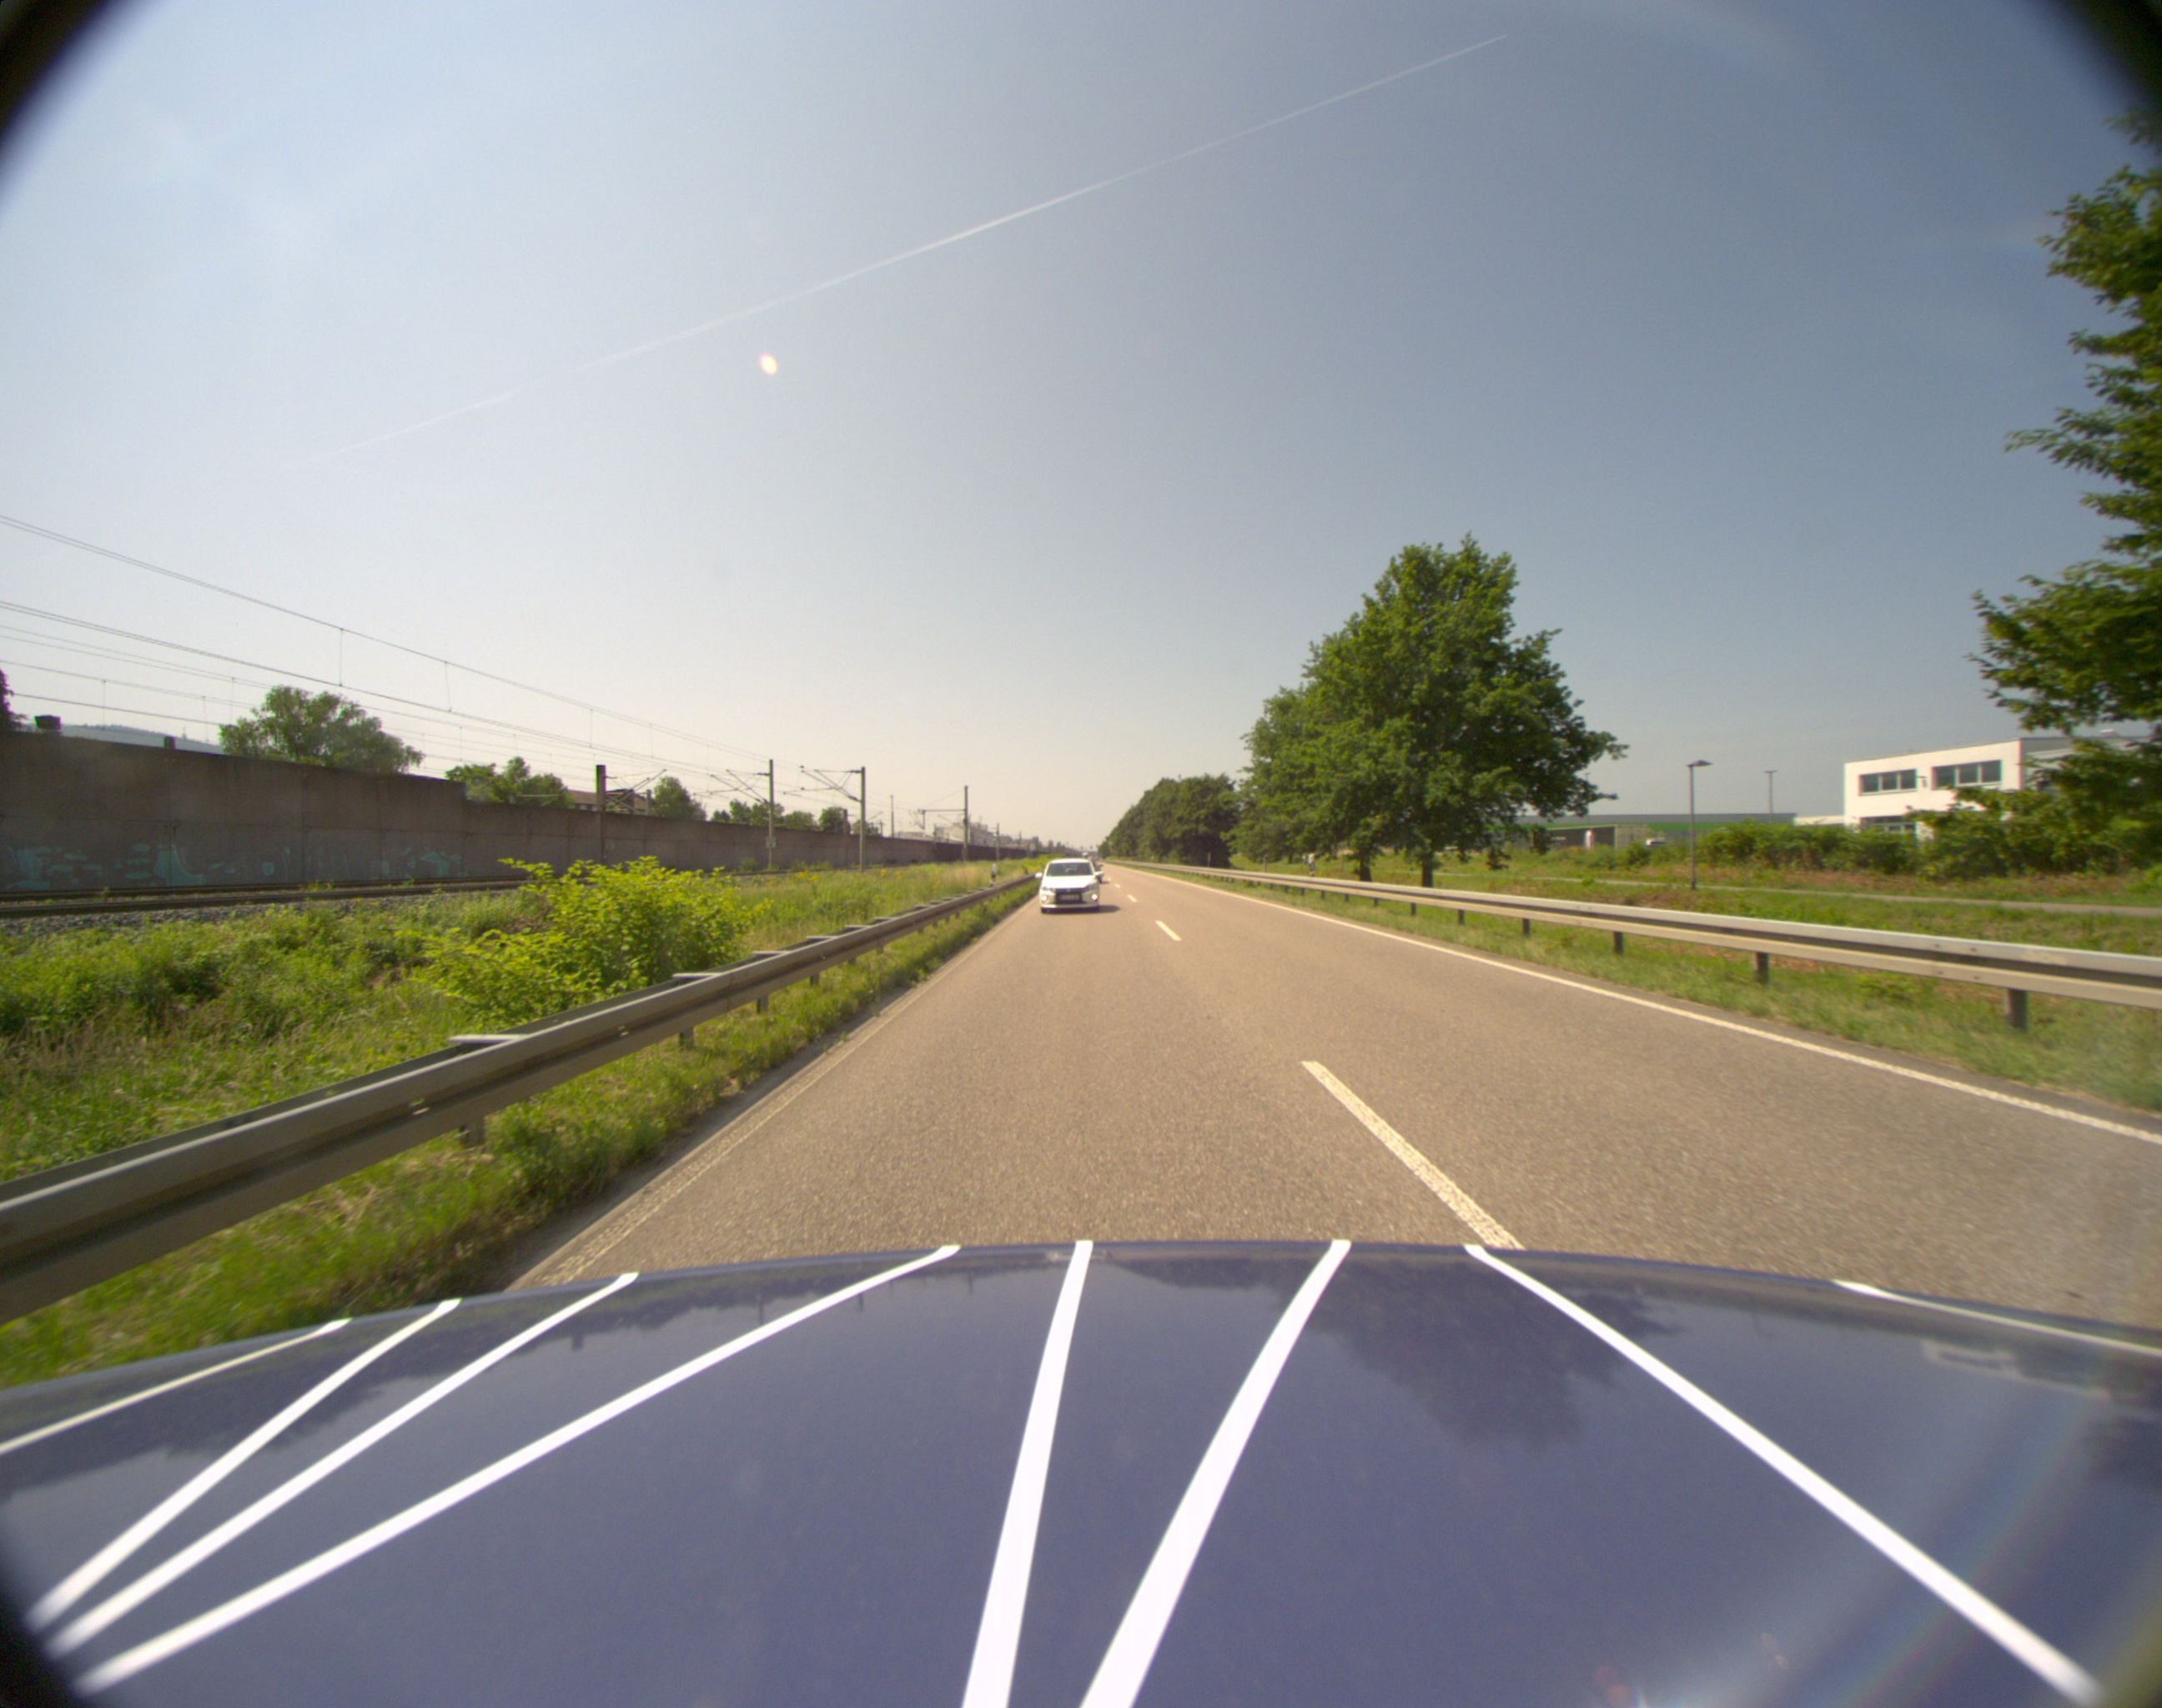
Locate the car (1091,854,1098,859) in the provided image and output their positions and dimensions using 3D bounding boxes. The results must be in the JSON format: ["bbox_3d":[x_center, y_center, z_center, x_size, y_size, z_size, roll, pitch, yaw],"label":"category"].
[{"bbox_3d":[3.343,0.630,194.070,1.711,1.470,4.155,0,0,0],"label":"car"}]

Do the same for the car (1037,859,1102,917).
[{"bbox_3d":[-0.305,0.909,22.348,1.701,1.470,4.155,-2,0,0],"label":"car"}]

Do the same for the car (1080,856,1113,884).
[{"bbox_3d":[0.828,0.851,42.274,1.711,1.470,4.155,-2,0,0],"label":"car"}]
